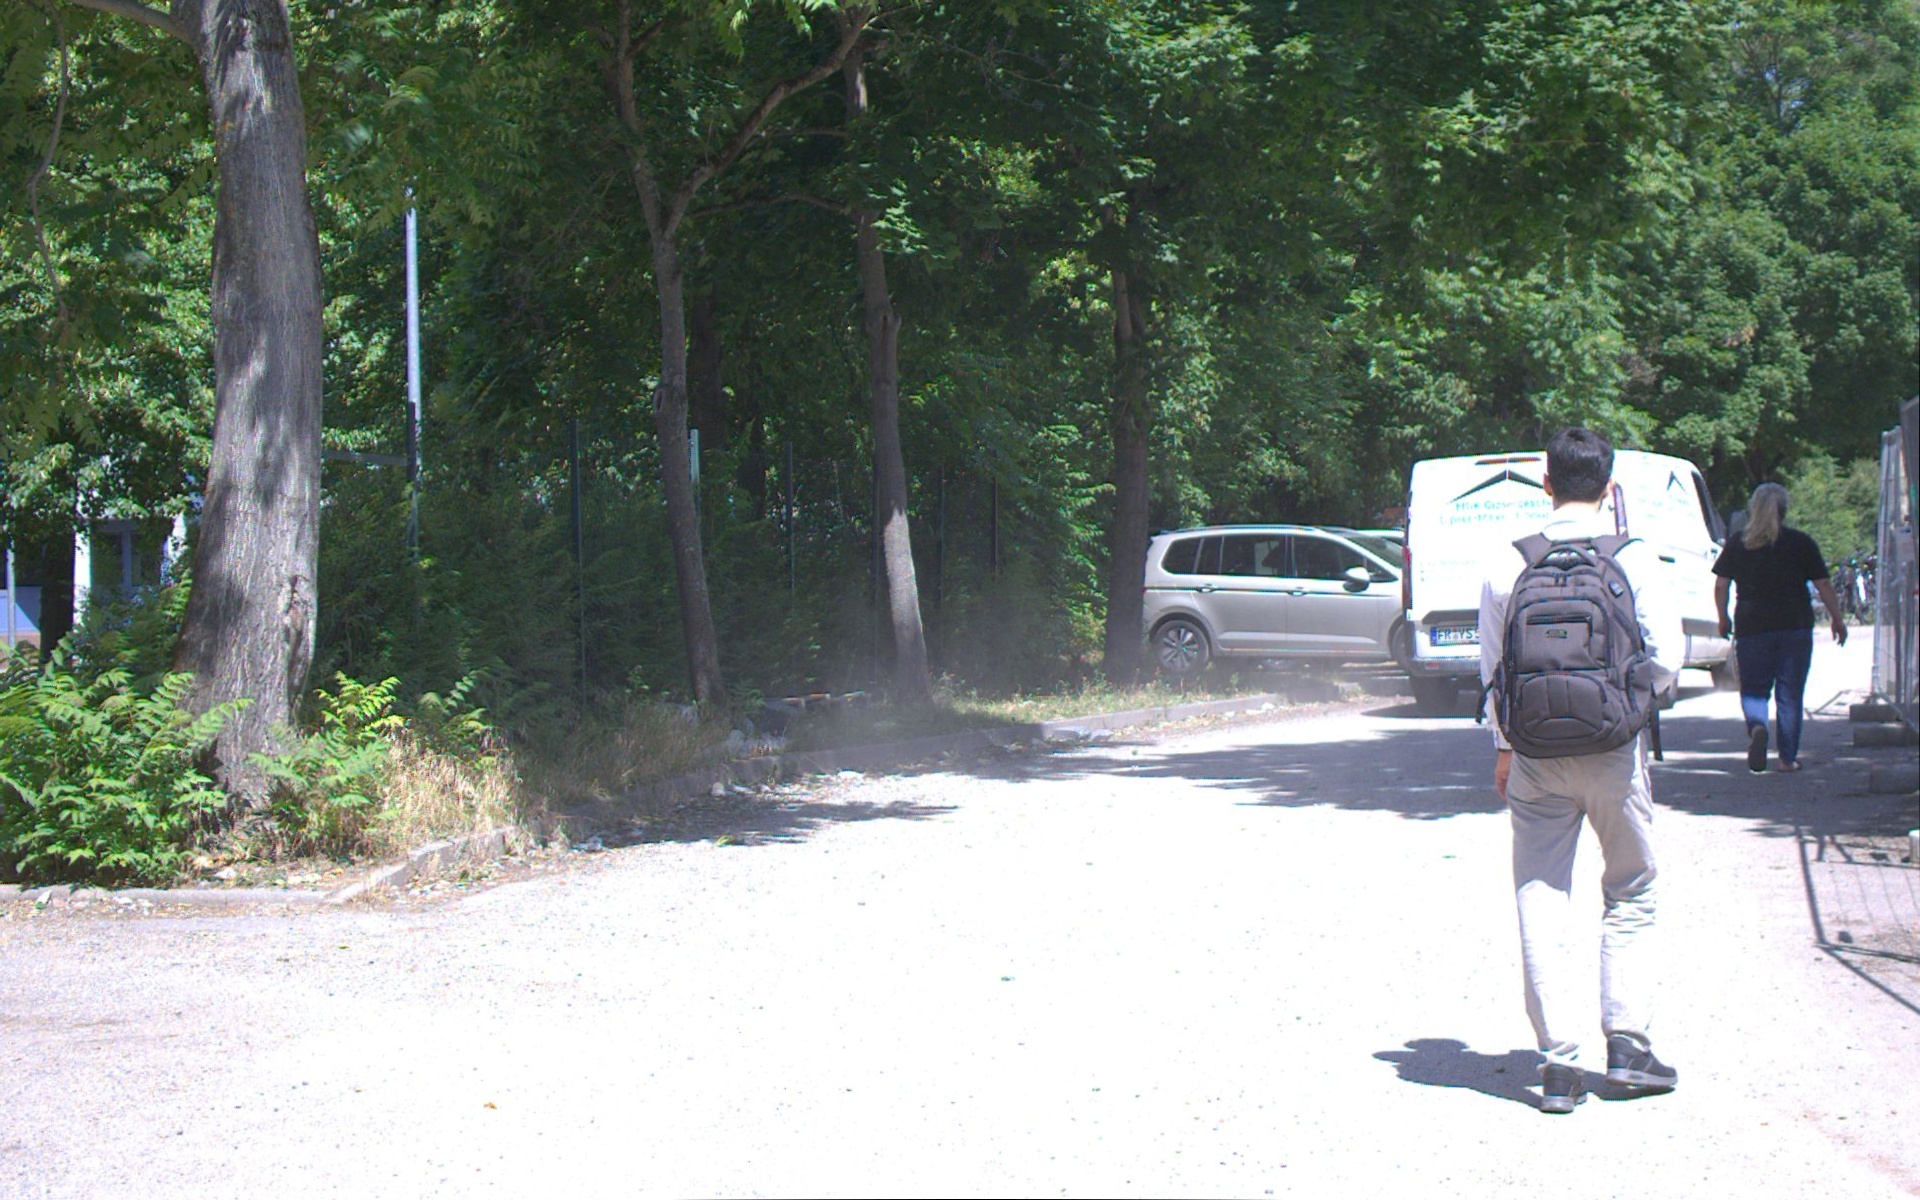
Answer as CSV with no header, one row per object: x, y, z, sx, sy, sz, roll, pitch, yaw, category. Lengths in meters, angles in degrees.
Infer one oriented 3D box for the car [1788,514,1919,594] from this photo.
19.385,-0.946,70.248,4.512,1.592,1.723,0,1,26,car

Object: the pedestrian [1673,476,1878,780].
4.554,0.143,19.273,1.035,1.644,1.049,-1,1,10,pedestrian

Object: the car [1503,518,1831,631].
10.558,-0.375,51.380,4.512,1.592,1.723,0,2,26,car

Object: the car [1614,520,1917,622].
13.234,-0.472,56.512,4.512,1.592,1.934,0,1,26,car

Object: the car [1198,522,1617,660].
5.194,-0.103,40.000,4.512,1.526,1.723,0,1,26,car

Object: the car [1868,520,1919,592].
22.177,-0.980,74.647,4.512,1.542,1.723,0,2,26,car

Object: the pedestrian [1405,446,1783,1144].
1.641,0.474,9.062,0.874,1.723,1.080,-1,1,6,pedestrian

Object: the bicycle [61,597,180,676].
-12.270,0.526,50.301,0.600,1.081,1.937,-1,1,24,bicycle

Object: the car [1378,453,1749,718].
4.941,-0.147,27.607,1.975,1.940,4.576,-1,1,22,car

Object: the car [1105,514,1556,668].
4.061,-0.059,37.737,4.512,1.604,1.997,0,-1,27,car
